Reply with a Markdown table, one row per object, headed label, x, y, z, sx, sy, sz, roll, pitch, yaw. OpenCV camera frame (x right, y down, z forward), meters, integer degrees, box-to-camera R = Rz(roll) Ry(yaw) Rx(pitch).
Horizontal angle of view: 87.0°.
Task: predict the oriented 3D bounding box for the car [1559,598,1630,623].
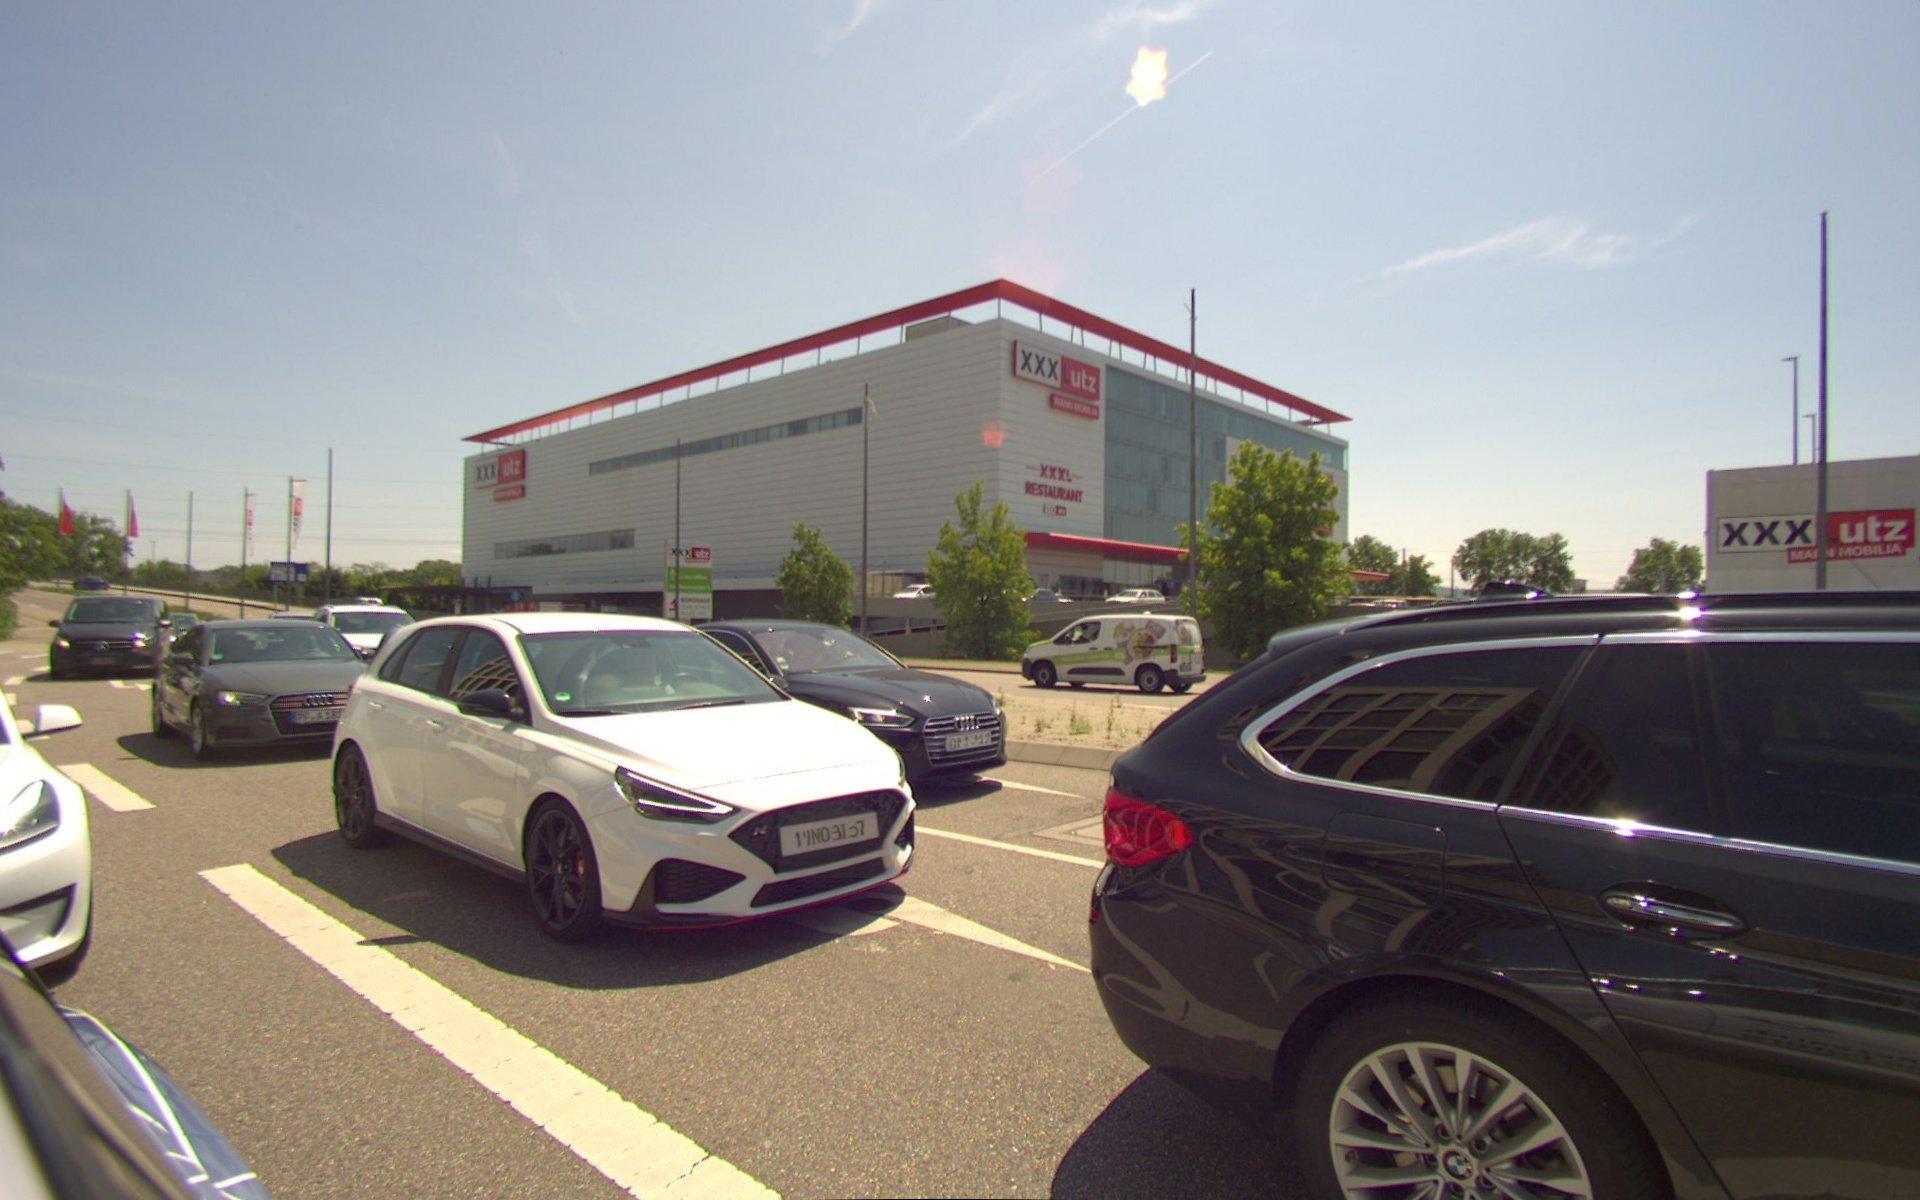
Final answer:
| label | x | y | z | sx | sy | sz | roll | pitch | yaw |
| --- | --- | --- | --- | --- | --- | --- | --- | --- | --- |
| car | 46.049 | 0.749 | 73.446 | 4.134 | 1.754 | 1.759 | 0 | -2 | 42 |

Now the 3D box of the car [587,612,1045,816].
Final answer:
| label | x | y | z | sx | sy | sz | roll | pitch | yaw |
| --- | --- | --- | --- | --- | --- | --- | --- | --- | --- |
| car | -1.516 | 0.859 | 9.206 | 4.466 | 1.415 | 1.654 | -2 | -1 | 42 |

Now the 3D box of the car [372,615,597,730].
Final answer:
| label | x | y | z | sx | sy | sz | roll | pitch | yaw |
| --- | --- | --- | --- | --- | --- | --- | --- | --- | --- |
| car | -7.154 | 0.968 | 14.978 | 1.744 | 1.413 | 4.435 | 0 | -1 | -43 |

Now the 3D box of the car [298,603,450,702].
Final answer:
| label | x | y | z | sx | sy | sz | roll | pitch | yaw |
| --- | --- | --- | --- | --- | --- | --- | --- | --- | --- |
| car | -11.318 | 0.914 | 19.394 | 1.743 | 1.653 | 4.498 | 0 | 0 | -40 |

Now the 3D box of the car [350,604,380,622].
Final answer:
| label | x | y | z | sx | sy | sz | roll | pitch | yaw |
| --- | --- | --- | --- | --- | --- | --- | --- | --- | --- |
| car | -79.581 | 1.770 | 135.323 | 4.815 | 2.300 | 2.162 | -1 | -2 | 44 |

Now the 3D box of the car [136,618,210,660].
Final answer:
| label | x | y | z | sx | sy | sz | roll | pitch | yaw |
| --- | --- | --- | --- | --- | --- | --- | --- | --- | --- |
| car | -28.185 | 1.374 | 36.325 | 1.582 | 1.451 | 3.744 | 1 | -2 | -30 |

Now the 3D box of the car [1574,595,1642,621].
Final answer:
| label | x | y | z | sx | sy | sz | roll | pitch | yaw |
| --- | --- | --- | --- | --- | --- | --- | --- | --- | --- |
| car | 52.207 | 0.668 | 81.584 | 4.328 | 2.029 | 1.972 | 0 | -2 | 42 |

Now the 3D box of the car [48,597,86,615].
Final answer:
| label | x | y | z | sx | sy | sz | roll | pitch | yaw |
| --- | --- | --- | --- | --- | --- | --- | --- | --- | --- |
| car | -89.865 | 0.626 | 101.841 | 3.983 | 1.829 | 1.661 | 0 | -2 | 29 |

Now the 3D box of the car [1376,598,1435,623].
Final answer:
| label | x | y | z | sx | sy | sz | roll | pitch | yaw |
| --- | --- | --- | --- | --- | --- | --- | --- | --- | --- |
| car | 36.296 | 0.873 | 82.440 | 4.000 | 1.915 | 1.972 | -1 | -2 | 43 |

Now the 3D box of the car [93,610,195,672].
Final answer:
| label | x | y | z | sx | sy | sz | roll | pitch | yaw |
| --- | --- | --- | --- | --- | --- | --- | --- | --- | --- |
| car | -23.467 | 1.156 | 29.240 | 1.784 | 1.652 | 4.011 | 1 | -2 | -32 |

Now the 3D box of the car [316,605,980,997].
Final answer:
| label | x | y | z | sx | sy | sz | roll | pitch | yaw |
| --- | --- | --- | --- | --- | --- | --- | --- | --- | --- |
| car | -2.004 | 0.773 | 5.779 | 4.068 | 1.447 | 1.769 | -1 | -1 | 41 |

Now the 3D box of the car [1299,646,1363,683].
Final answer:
| label | x | y | z | sx | sy | sz | roll | pitch | yaw |
| --- | --- | --- | --- | --- | --- | --- | --- | --- | --- |
| car | 19.039 | 3.282 | 51.898 | 1.997 | 1.719 | 3.949 | -1 | -2 | 38 |

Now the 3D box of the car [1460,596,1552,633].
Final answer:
| label | x | y | z | sx | sy | sz | roll | pitch | yaw |
| --- | --- | --- | --- | --- | --- | --- | --- | --- | --- |
| car | 30.914 | 0.842 | 57.328 | 4.323 | 2.029 | 1.975 | 0 | -2 | 38 |

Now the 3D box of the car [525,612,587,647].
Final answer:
| label | x | y | z | sx | sy | sz | roll | pitch | yaw |
| --- | --- | --- | --- | --- | --- | --- | --- | --- | --- |
| car | -20.969 | 1.530 | 52.478 | 1.838 | 1.736 | 4.050 | 2 | -3 | -39 |

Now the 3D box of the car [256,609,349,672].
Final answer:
| label | x | y | z | sx | sy | sz | roll | pitch | yaw |
| --- | --- | --- | --- | --- | --- | --- | --- | --- | --- |
| car | -16.519 | 0.978 | 25.356 | 1.741 | 1.433 | 3.908 | -1 | -1 | -36 |

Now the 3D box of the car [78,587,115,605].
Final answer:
| label | x | y | z | sx | sy | sz | roll | pitch | yaw |
| --- | --- | --- | --- | --- | --- | --- | --- | --- | --- |
| car | -101.319 | -0.511 | 118.737 | 3.977 | 2.029 | 1.797 | 0 | -2 | 25 |

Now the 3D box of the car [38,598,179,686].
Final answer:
| label | x | y | z | sx | sy | sz | roll | pitch | yaw |
| --- | --- | --- | --- | --- | --- | --- | --- | --- | --- |
| car | -19.663 | 0.922 | 23.575 | 1.865 | 1.835 | 4.850 | 1 | -1 | -33 |

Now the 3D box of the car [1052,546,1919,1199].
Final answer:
| label | x | y | z | sx | sy | sz | roll | pitch | yaw |
| --- | --- | --- | --- | --- | --- | --- | --- | --- | --- |
| car | 2.530 | 0.648 | 1.725 | 4.553 | 1.451 | 1.779 | -1 | -1 | 40 |

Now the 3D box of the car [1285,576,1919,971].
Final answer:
| label | x | y | z | sx | sy | sz | roll | pitch | yaw |
| --- | --- | --- | --- | --- | --- | --- | --- | --- | --- |
| car | 3.750 | 0.634 | 4.566 | 4.009 | 1.433 | 1.674 | -2 | -1 | 43 |

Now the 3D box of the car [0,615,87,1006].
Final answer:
| label | x | y | z | sx | sy | sz | roll | pitch | yaw |
| --- | --- | --- | --- | --- | --- | --- | --- | --- | --- |
| car | -5.610 | 0.812 | 4.688 | 4.282 | 1.447 | 1.800 | -1 | 0 | 41 |

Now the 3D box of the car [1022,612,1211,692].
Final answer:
| label | x | y | z | sx | sy | sz | roll | pitch | yaw |
| --- | --- | --- | --- | --- | --- | --- | --- | --- | --- |
| car | 3.644 | 1.214 | 23.795 | 4.034 | 1.736 | 1.845 | -2 | -4 | 36 |

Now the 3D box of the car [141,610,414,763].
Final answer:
| label | x | y | z | sx | sy | sz | roll | pitch | yaw |
| --- | --- | --- | --- | --- | --- | --- | --- | --- | --- |
| car | -7.754 | 0.852 | 11.341 | 1.744 | 1.393 | 4.092 | 4 | -3 | -45 |

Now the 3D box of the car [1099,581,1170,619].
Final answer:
| label | x | y | z | sx | sy | sz | roll | pitch | yaw |
| --- | --- | --- | --- | --- | --- | --- | --- | --- | --- |
| car | 9.953 | 0.049 | 57.437 | 4.407 | 2.029 | 1.680 | 2 | -2 | -44 |

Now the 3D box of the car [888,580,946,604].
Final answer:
| label | x | y | z | sx | sy | sz | roll | pitch | yaw |
| --- | --- | --- | --- | --- | --- | --- | --- | --- | --- |
| car | -2.915 | -0.521 | 69.258 | 1.717 | 1.519 | 3.944 | -1 | -2 | 42 |

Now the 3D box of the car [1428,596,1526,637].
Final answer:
| label | x | y | z | sx | sy | sz | roll | pitch | yaw |
| --- | --- | --- | --- | --- | --- | --- | --- | --- | --- |
| car | 27.190 | 0.864 | 53.237 | 4.323 | 2.029 | 1.974 | 0 | -2 | 38 |
